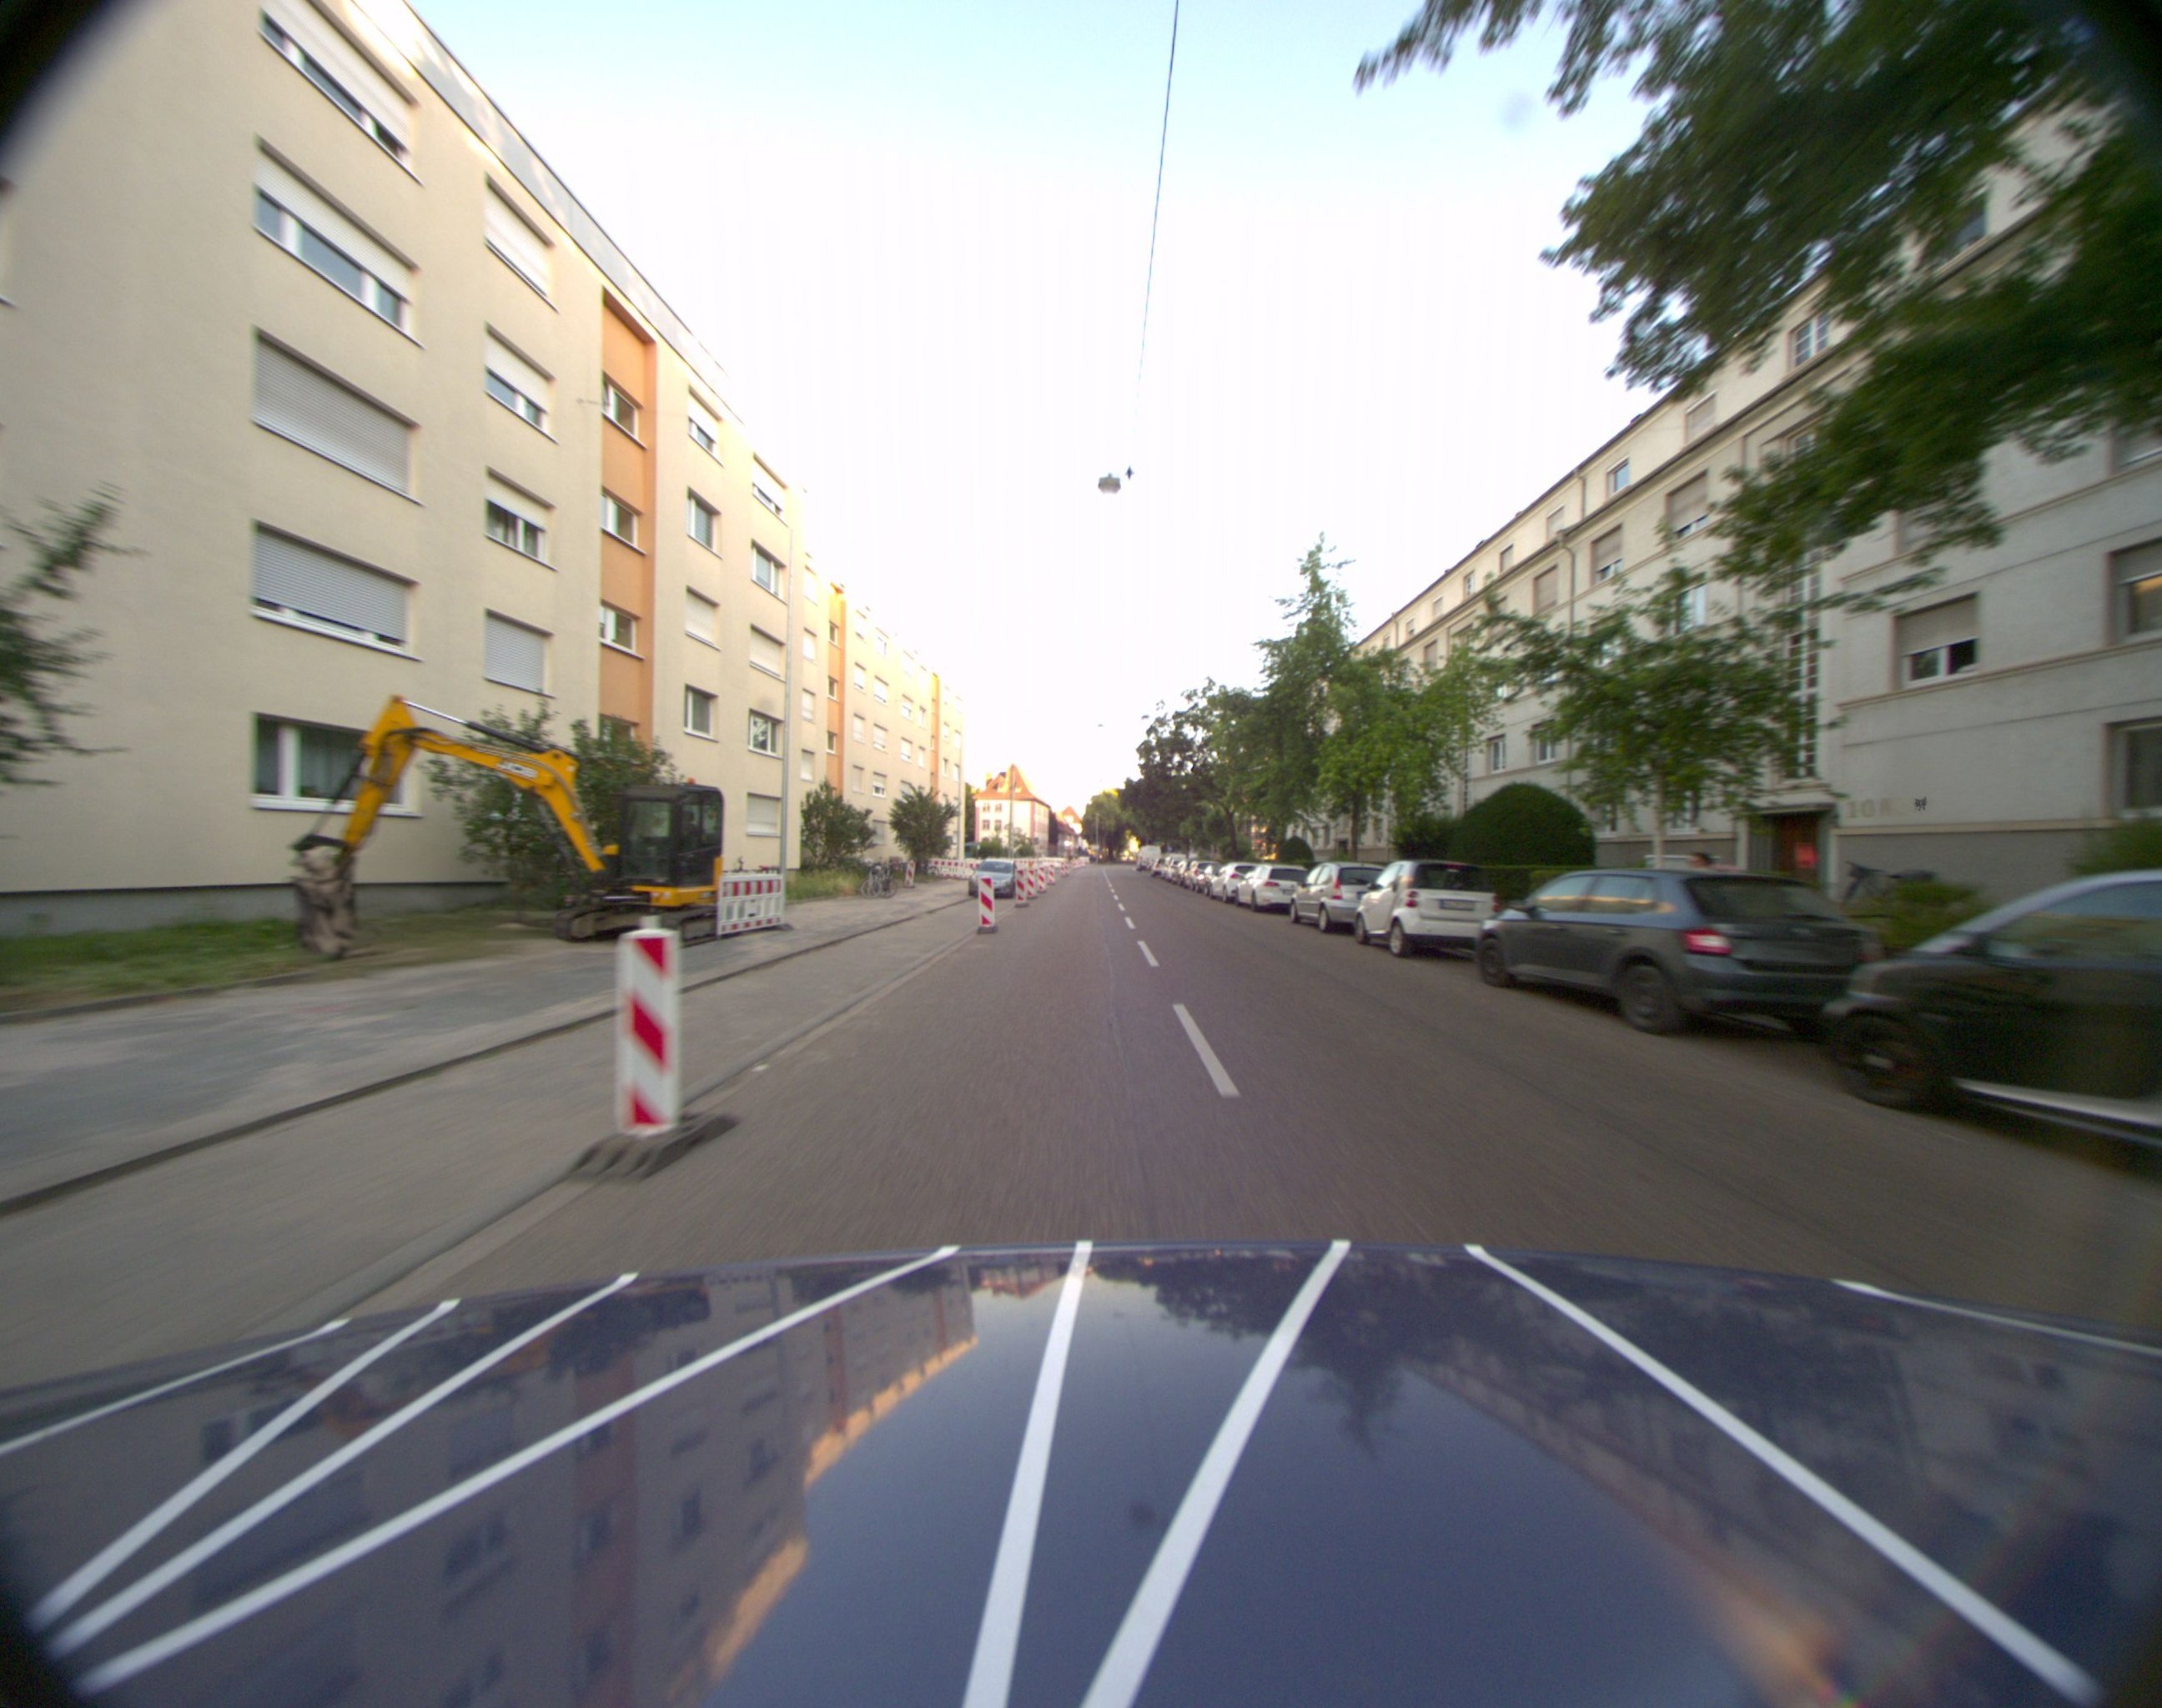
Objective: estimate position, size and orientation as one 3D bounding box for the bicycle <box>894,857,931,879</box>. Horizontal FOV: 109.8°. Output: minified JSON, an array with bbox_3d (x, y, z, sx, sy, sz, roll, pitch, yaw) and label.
[{"bbox_3d":[-8.765,0.721,39.534,1.755,0.981,0.558,6,2,10],"label":"bicycle"}]

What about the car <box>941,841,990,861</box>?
[{"bbox_3d":[-12.956,-0.328,85.524,5.029,2.117,2.291,0,1,9],"label":"car"}]

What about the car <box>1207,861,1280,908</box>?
[{"bbox_3d":[5.882,1.047,27.984,1.696,1.451,4.144,3,0,-1],"label":"car"}]

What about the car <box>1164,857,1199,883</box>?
[{"bbox_3d":[6.334,0.979,48.201,1.756,1.471,3.945,3,0,2],"label":"car"}]

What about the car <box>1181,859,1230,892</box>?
[{"bbox_3d":[6.148,1.025,37.814,1.679,1.451,3.704,3,0,-1],"label":"car"}]

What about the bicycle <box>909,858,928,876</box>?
[{"bbox_3d":[-9.107,0.724,42.564,0.559,0.860,1.610,5,1,-27],"label":"bicycle"}]

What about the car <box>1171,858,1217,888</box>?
[{"bbox_3d":[6.259,1.004,42.671,1.757,1.471,4.678,3,0,-1],"label":"car"}]

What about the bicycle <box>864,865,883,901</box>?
[{"bbox_3d":[-7.136,0.963,26.117,0.628,1.165,1.814,0,0,-15],"label":"bicycle"}]

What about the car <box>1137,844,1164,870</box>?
[{"bbox_3d":[7.012,0.291,77.528,2.184,2.447,6.103,3,0,1],"label":"car"}]

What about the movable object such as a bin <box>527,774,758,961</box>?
[{"bbox_3d":[-6.969,0.184,12.426,1.937,2.677,2.892,0,0,6],"label":"movable object such as a bin"}]

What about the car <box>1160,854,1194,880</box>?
[{"bbox_3d":[6.610,0.863,52.769,1.757,1.622,4.107,3,0,0],"label":"car"}]

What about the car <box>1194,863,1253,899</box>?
[{"bbox_3d":[6.102,1.119,33.022,1.678,1.324,4.579,3,0,0],"label":"car"}]

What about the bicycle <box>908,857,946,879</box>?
[{"bbox_3d":[-8.361,0.741,41.263,1.815,1.017,0.558,5,2,2],"label":"bicycle"}]

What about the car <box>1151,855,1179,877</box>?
[{"bbox_3d":[6.403,0.896,58.207,1.756,1.463,4.224,3,0,2],"label":"car"}]

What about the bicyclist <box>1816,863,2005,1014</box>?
[{"bbox_3d":[8.208,0.793,7.573,0.810,1.396,0.973,0,0,1],"label":"bicyclist"}]

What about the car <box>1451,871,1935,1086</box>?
[{"bbox_3d":[5.690,1.004,7.877,1.594,1.458,4.101,3,0,-1],"label":"car"}]

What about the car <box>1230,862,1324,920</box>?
[{"bbox_3d":[5.858,1.046,23.285,1.696,1.451,4.483,3,0,1],"label":"car"}]

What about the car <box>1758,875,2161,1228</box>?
[{"bbox_3d":[5.657,0.963,3.845,1.527,1.520,3.164,3,0,0],"label":"car"}]

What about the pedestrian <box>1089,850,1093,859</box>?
[{"bbox_3d":[1.823,0.148,138.154,0.716,1.600,0.518,0,1,-4],"label":"pedestrian"}]

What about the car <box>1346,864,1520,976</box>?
[{"bbox_3d":[5.734,0.996,12.750,1.593,1.520,2.922,3,0,3],"label":"car"}]

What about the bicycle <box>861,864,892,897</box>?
[{"bbox_3d":[-7.569,0.957,28.154,0.557,1.165,1.817,0,0,4],"label":"bicycle"}]

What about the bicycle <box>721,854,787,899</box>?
[{"bbox_3d":[-9.040,0.613,21.039,1.597,1.215,0.485,0,1,-5],"label":"bicycle"}]

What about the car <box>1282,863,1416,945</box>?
[{"bbox_3d":[5.829,1.015,17.003,1.594,1.496,3.799,3,0,1],"label":"car"}]

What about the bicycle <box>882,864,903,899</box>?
[{"bbox_3d":[-6.607,0.950,26.609,0.558,1.165,1.814,0,0,-19],"label":"bicycle"}]

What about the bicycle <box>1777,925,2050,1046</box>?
[{"bbox_3d":[8.167,1.248,7.600,0.810,0.906,1.762,0,0,1],"label":"bicycle"}]

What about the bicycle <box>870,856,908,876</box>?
[{"bbox_3d":[-10.240,0.641,40.510,1.821,0.916,0.556,4,2,-40],"label":"bicycle"}]

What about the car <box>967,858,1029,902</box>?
[{"bbox_3d":[-3.306,1.001,31.164,1.780,1.482,4.574,4,0,2],"label":"car"}]

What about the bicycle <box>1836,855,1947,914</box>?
[{"bbox_3d":[17.713,0.635,16.669,0.557,1.223,1.817,0,0,4],"label":"bicycle"}]

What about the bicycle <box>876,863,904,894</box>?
[{"bbox_3d":[-7.581,0.942,30.203,0.557,1.165,1.817,0,0,4],"label":"bicycle"}]
